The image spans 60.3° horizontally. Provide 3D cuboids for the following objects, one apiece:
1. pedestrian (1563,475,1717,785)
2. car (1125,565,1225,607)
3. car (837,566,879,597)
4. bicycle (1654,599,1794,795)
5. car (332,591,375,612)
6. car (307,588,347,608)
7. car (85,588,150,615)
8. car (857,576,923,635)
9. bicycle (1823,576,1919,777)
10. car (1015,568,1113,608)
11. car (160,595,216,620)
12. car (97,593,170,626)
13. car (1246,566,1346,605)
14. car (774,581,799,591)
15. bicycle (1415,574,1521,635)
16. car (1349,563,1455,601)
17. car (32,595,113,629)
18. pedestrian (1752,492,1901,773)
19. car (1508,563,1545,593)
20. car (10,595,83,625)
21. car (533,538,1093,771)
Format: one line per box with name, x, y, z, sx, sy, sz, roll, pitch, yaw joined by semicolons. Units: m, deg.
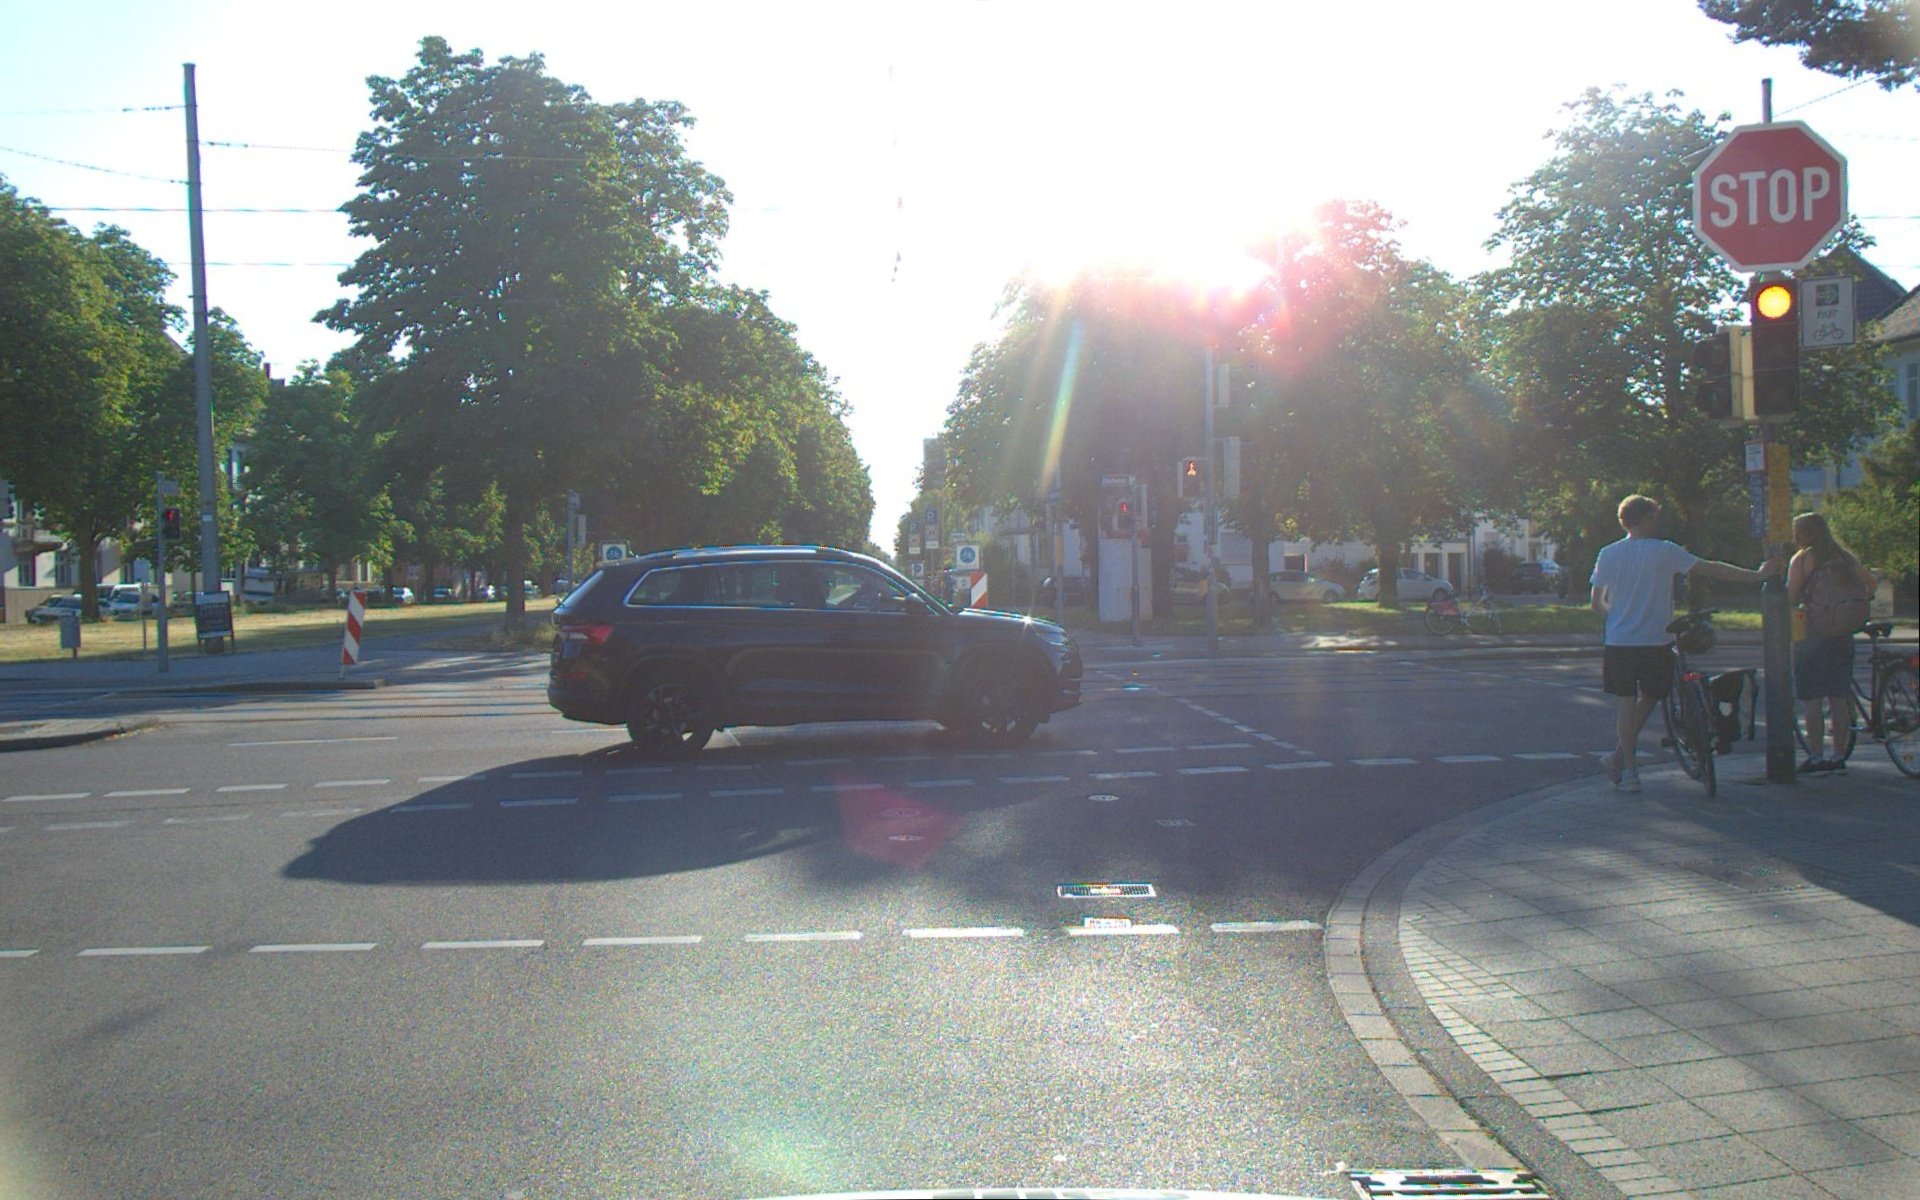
pedestrian;4.441;0.198;10.858;0.656;1.897;0.882;-6;-2;16
car;8.484;-0.575;65.424;3.704;1.552;1.743;-1;2;-3
car;-4.776;-0.881;77.880;1.808;1.418;3.828;0;1;-2
bicycle;4.862;0.574;10.608;0.476;1.116;1.792;-3;0;16
car;-42.302;0.100;115.495;1.703;1.452;3.791;-1;1;-2
car;-48.065;-0.162;125.655;1.703;1.452;3.791;-1;1;-2
car;-46.498;0.064;91.329;1.703;1.452;3.791;-1;1;-2
car;-1.820;0.117;43.830;1.607;1.476;3.307;-1;1;0
bicycle;6.028;0.451;10.649;0.476;1.162;1.599;-3;1;16
car;4.071;-0.484;65.030;3.704;1.452;1.743;-1;2;-3
car;-47.399;0.455;101.588;1.703;1.452;3.791;-1;1;-2
car;-40.314;0.450;80.742;1.703;1.452;3.792;-1;2;-2
car;13.288;-0.577;65.441;3.593;1.452;1.529;-1;1;-7
car;-25.620;-2.067;244.276;3.450;1.452;1.602;-1;1;-4
bicycle;10.115;0.084;32.983;1.914;1.152;0.620;-1;0;0
car;17.695;-0.731;66.281;3.772;1.452;1.595;-1;1;-7
car;-40.050;0.517;74.715;1.703;1.452;3.791;-1;1;-2
pedestrian;5.615;0.202;10.748;0.655;1.737;0.623;-4;1;17
car;28.941;-1.120;84.499;1.629;1.442;3.543;-1;1;21
car;-47.023;0.496;85.231;1.703;1.452;3.791;-1;1;-2
car;-1.278;0.398;14.211;4.468;1.692;1.874;-2;1;-12
